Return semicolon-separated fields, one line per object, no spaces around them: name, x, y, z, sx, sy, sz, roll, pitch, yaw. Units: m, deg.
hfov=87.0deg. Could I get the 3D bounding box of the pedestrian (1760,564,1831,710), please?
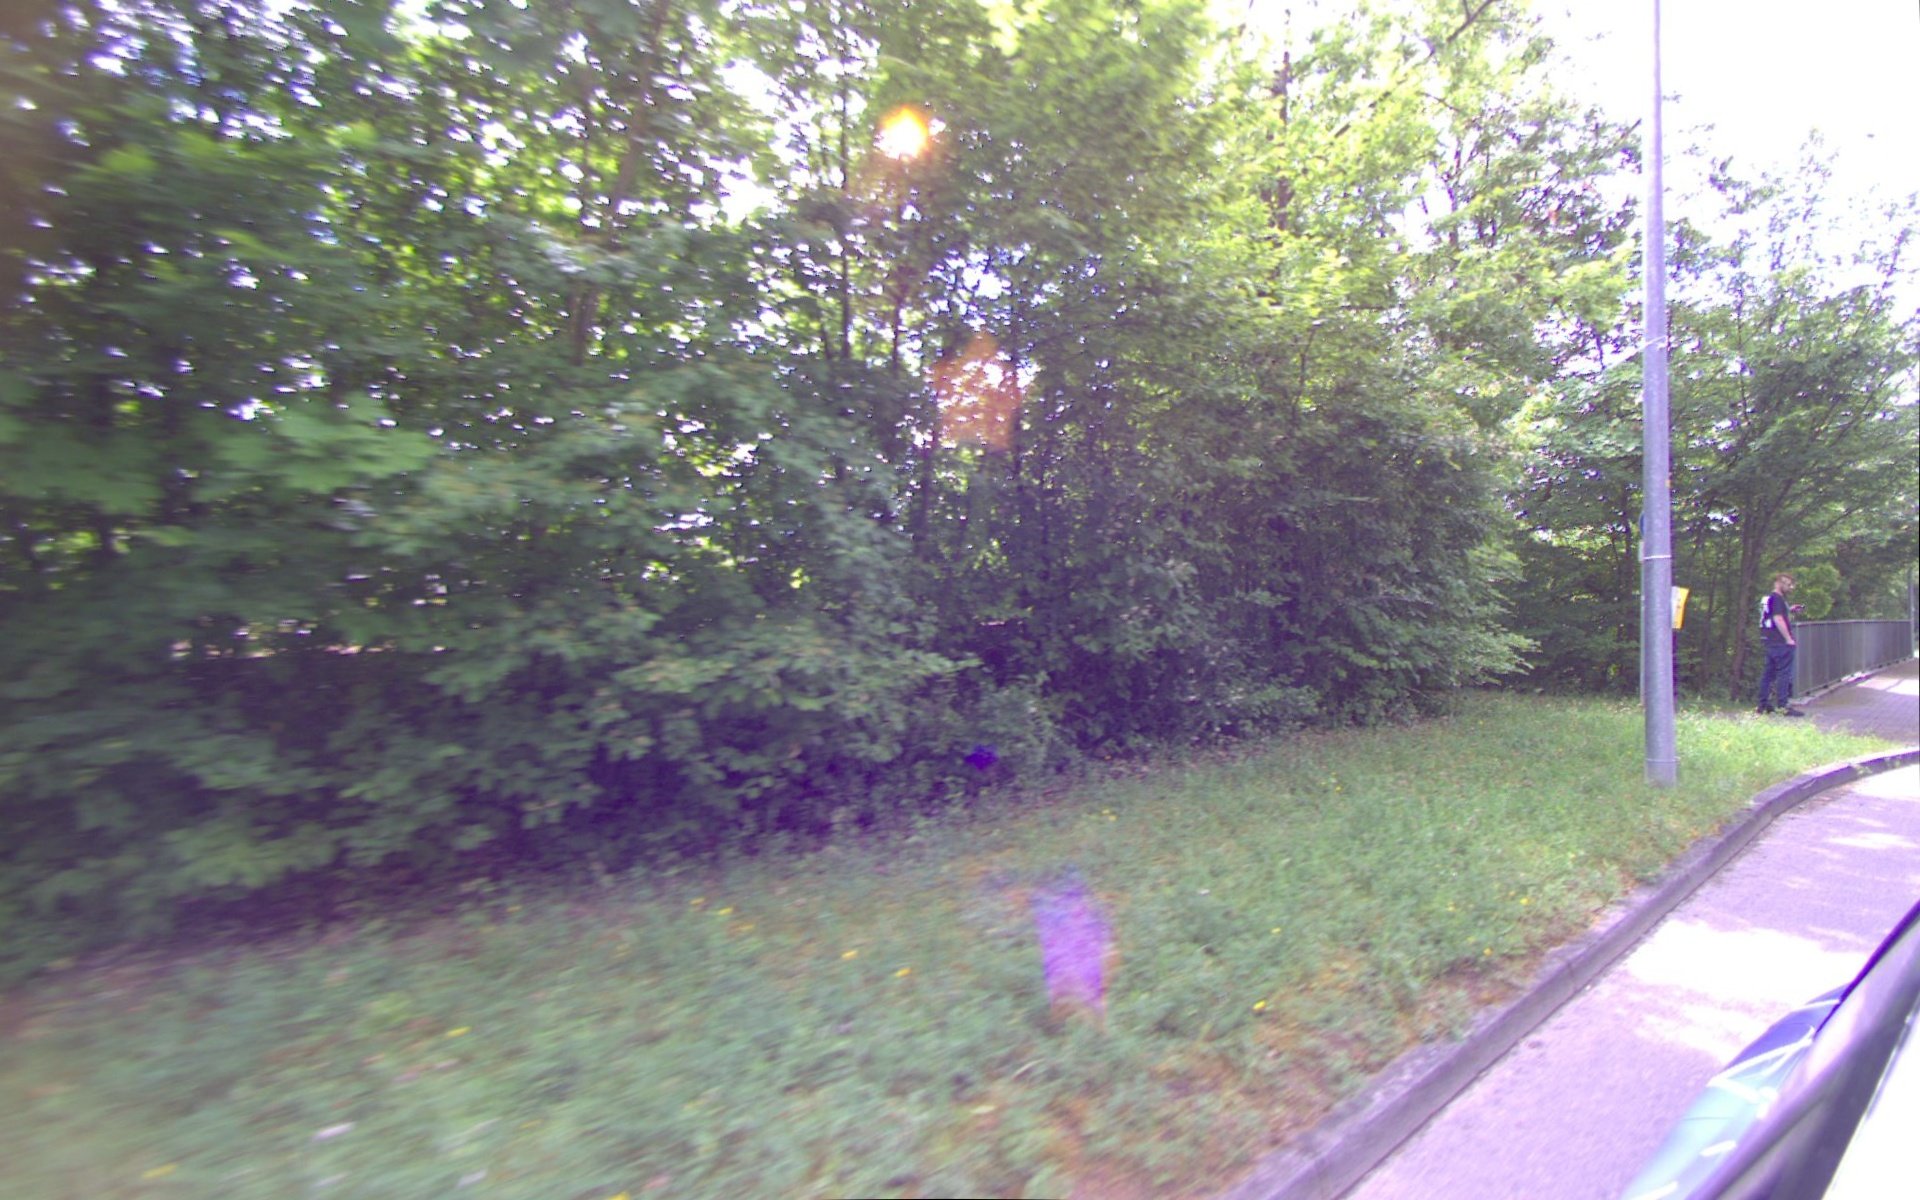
pedestrian;10.700;0.454;12.963;0.680;1.806;0.580;1;0;42
